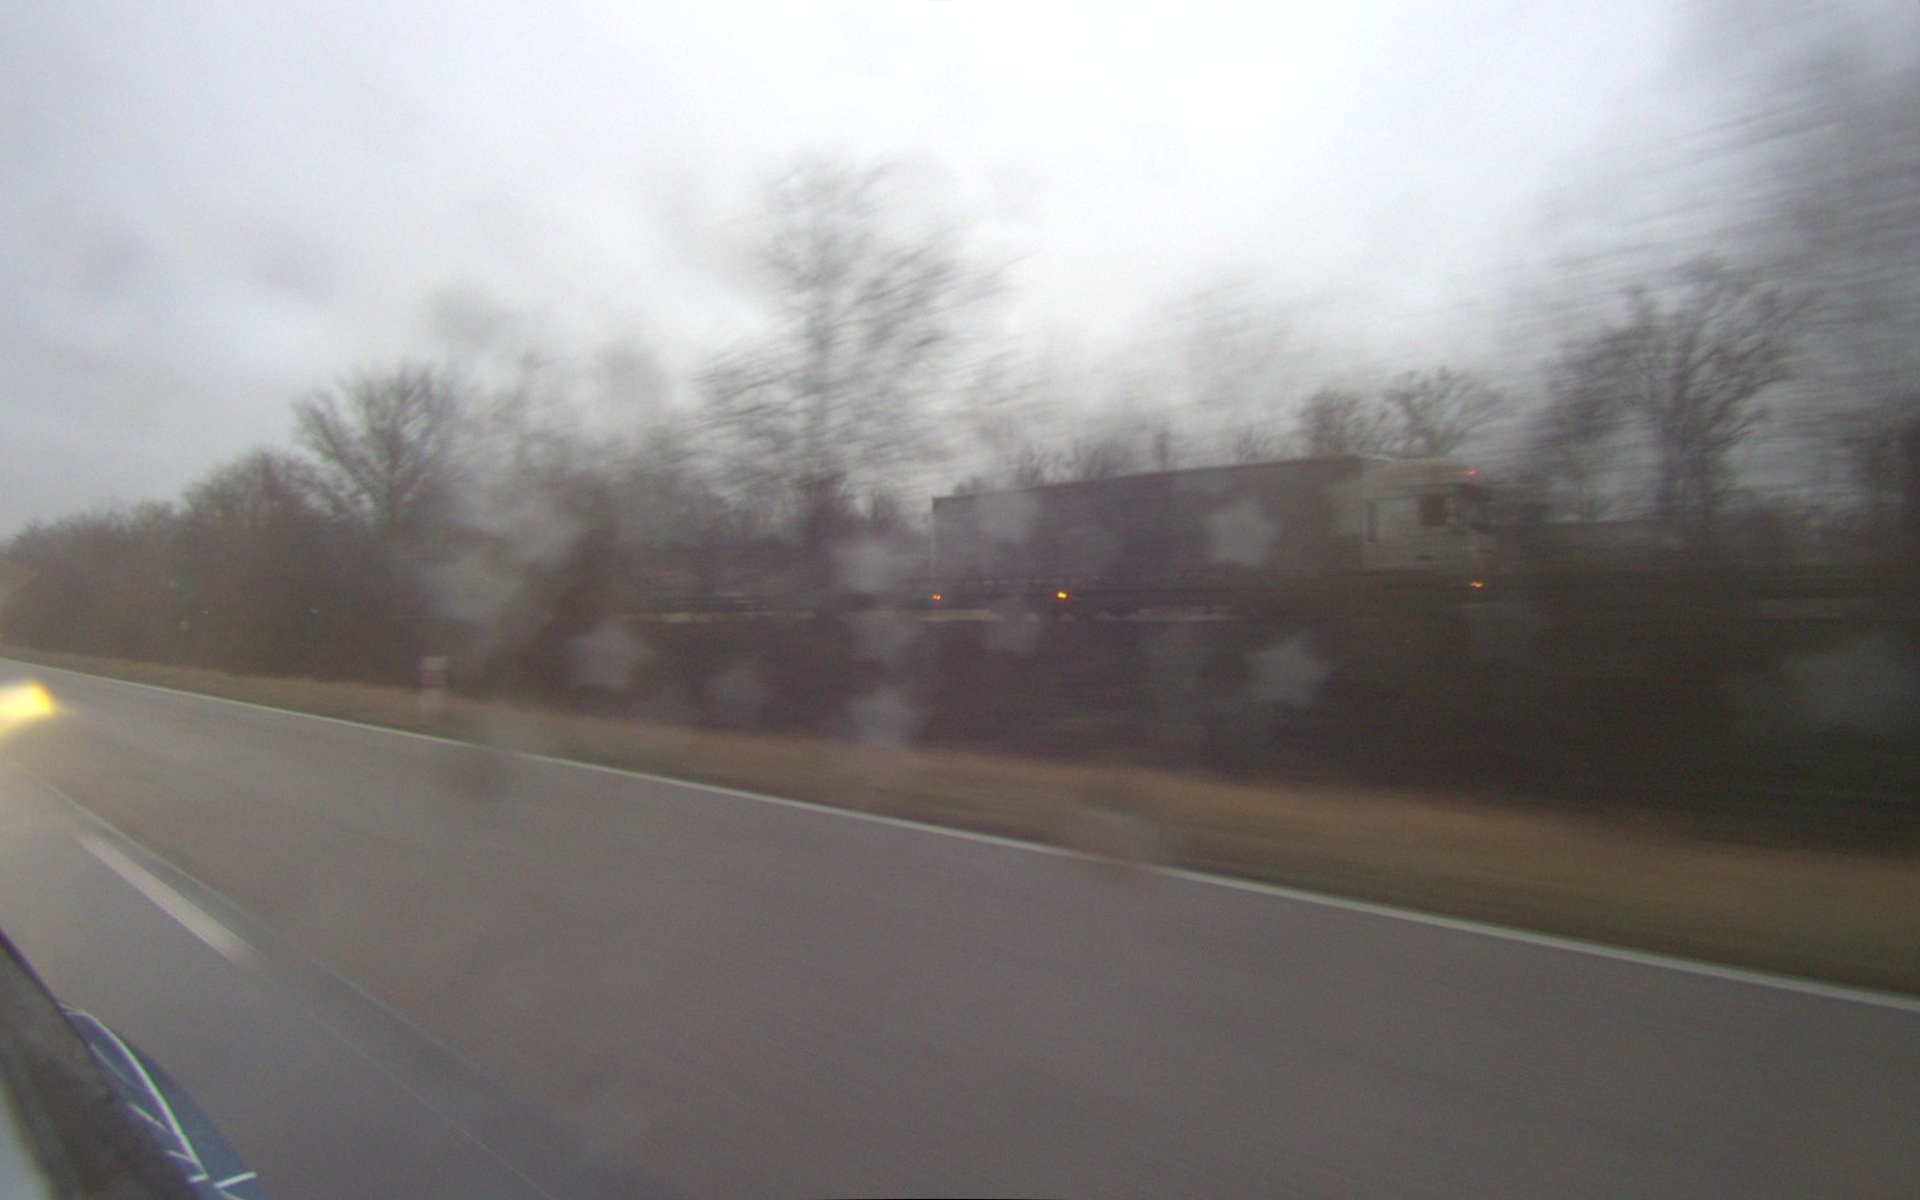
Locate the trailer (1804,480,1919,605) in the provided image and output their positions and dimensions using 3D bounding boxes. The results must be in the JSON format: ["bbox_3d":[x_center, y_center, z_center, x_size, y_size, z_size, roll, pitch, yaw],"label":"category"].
[{"bbox_3d":[23.124,-1.218,18.704,11.497,2.443,2.482,-1,-2,42],"label":"trailer"}]

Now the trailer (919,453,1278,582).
[{"bbox_3d":[3.637,-2.169,30.084,11.079,2.913,2.410,-1,-2,41],"label":"trailer"}]

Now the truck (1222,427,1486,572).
[{"bbox_3d":[9.578,-2.275,24.912,5.580,2.909,2.424,-1,-2,41],"label":"truck"}]
